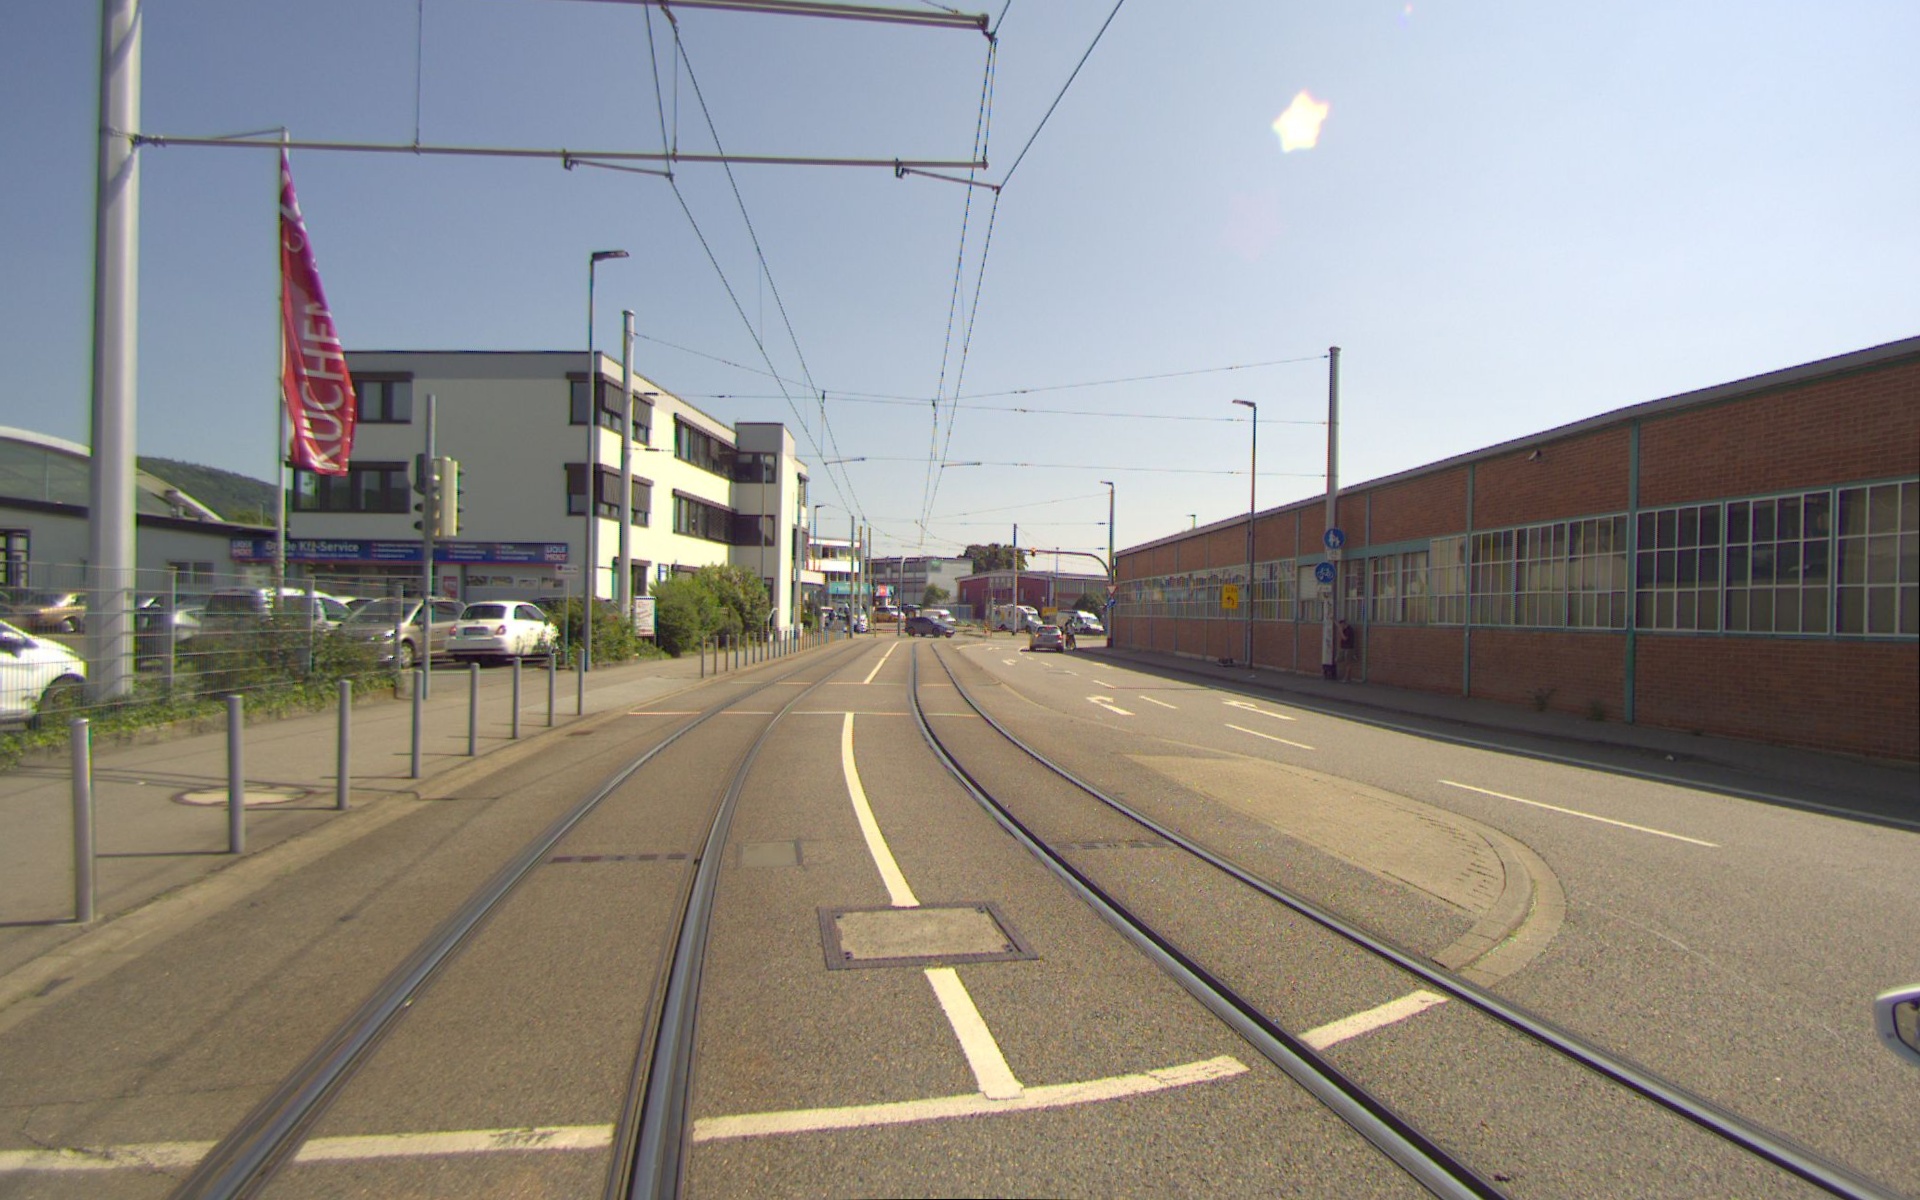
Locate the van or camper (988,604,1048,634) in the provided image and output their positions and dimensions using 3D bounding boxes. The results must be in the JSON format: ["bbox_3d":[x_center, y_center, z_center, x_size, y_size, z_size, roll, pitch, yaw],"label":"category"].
[{"bbox_3d":[6.404,2.019,111.603,2.338,2.970,6.895,0,2,-44],"label":"van or camper"}]

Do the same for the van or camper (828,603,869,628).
[{"bbox_3d":[-11.764,1.634,105.689,2.015,2.327,5.761,1,2,-31],"label":"van or camper"}]

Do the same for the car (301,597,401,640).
[{"bbox_3d":[-21.981,0.669,36.374,1.393,1.445,3.134,1,-1,9],"label":"car"}]

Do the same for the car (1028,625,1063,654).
[{"bbox_3d":[4.798,2.208,56.594,1.717,1.478,4.001,1,-1,2],"label":"car"}]

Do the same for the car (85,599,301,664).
[{"bbox_3d":[-18.006,0.722,23.859,1.810,1.376,4.002,1,-1,5],"label":"car"}]

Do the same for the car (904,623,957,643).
[{"bbox_3d":[-2.409,2.730,82.927,3.922,1.528,1.879,1,-1,22],"label":"car"}]

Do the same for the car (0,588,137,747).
[{"bbox_3d":[-9.552,0.576,8.698,1.680,1.452,3.954,2,-2,-3],"label":"car"}]

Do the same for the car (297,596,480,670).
[{"bbox_3d":[-13.411,0.749,23.863,1.819,1.589,3.937,1,-1,5],"label":"car"}]

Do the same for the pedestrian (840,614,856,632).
[{"bbox_3d":[-8.950,1.833,80.206,1.113,1.474,0.836,1,-1,-11],"label":"pedestrian"}]

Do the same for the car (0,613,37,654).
[{"bbox_3d":[-24.476,0.797,23.850,1.714,0.996,3.490,1,-1,5],"label":"car"}]

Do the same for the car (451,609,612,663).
[{"bbox_3d":[-12.022,1.004,28.363,3.760,1.388,1.748,1,-1,0],"label":"car"}]

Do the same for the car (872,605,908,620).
[{"bbox_3d":[-8.347,1.459,119.608,1.925,1.782,5.072,2,-1,-35],"label":"car"}]

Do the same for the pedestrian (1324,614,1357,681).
[{"bbox_3d":[10.409,1.289,27.503,0.673,1.789,0.449,2,2,-1],"label":"pedestrian"}]

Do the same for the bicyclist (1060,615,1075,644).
[{"bbox_3d":[6.528,1.772,60.859,0.772,1.744,1.147,2,-1,1],"label":"bicyclist"}]

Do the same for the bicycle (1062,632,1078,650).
[{"bbox_3d":[6.696,2.496,61.226,0.781,1.035,2.151,2,-1,2],"label":"bicycle"}]

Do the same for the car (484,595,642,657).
[{"bbox_3d":[-11.938,0.772,30.395,3.921,1.728,2.000,1,-1,-1],"label":"car"}]

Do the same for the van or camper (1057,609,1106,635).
[{"bbox_3d":[13.583,2.463,112.624,2.269,2.473,5.327,0,3,-38],"label":"van or camper"}]

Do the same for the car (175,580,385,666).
[{"bbox_3d":[-15.841,0.538,23.682,1.960,1.808,4.002,1,-1,5],"label":"car"}]

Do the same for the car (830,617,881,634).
[{"bbox_3d":[-9.125,2.219,87.720,4.119,1.393,1.804,1,-1,9],"label":"car"}]

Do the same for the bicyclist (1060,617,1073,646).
[{"bbox_3d":[6.691,1.967,63.165,0.696,1.834,0.983,2,-1,1],"label":"bicyclist"}]

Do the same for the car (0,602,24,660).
[{"bbox_3d":[-27.009,0.787,25.629,1.952,1.578,4.427,1,-1,4],"label":"car"}]

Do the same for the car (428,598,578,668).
[{"bbox_3d":[-11.088,0.784,24.676,1.706,1.562,3.838,1,-1,4],"label":"car"}]

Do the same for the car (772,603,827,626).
[{"bbox_3d":[-12.444,1.123,77.985,3.921,1.539,2.000,2,1,1],"label":"car"}]
